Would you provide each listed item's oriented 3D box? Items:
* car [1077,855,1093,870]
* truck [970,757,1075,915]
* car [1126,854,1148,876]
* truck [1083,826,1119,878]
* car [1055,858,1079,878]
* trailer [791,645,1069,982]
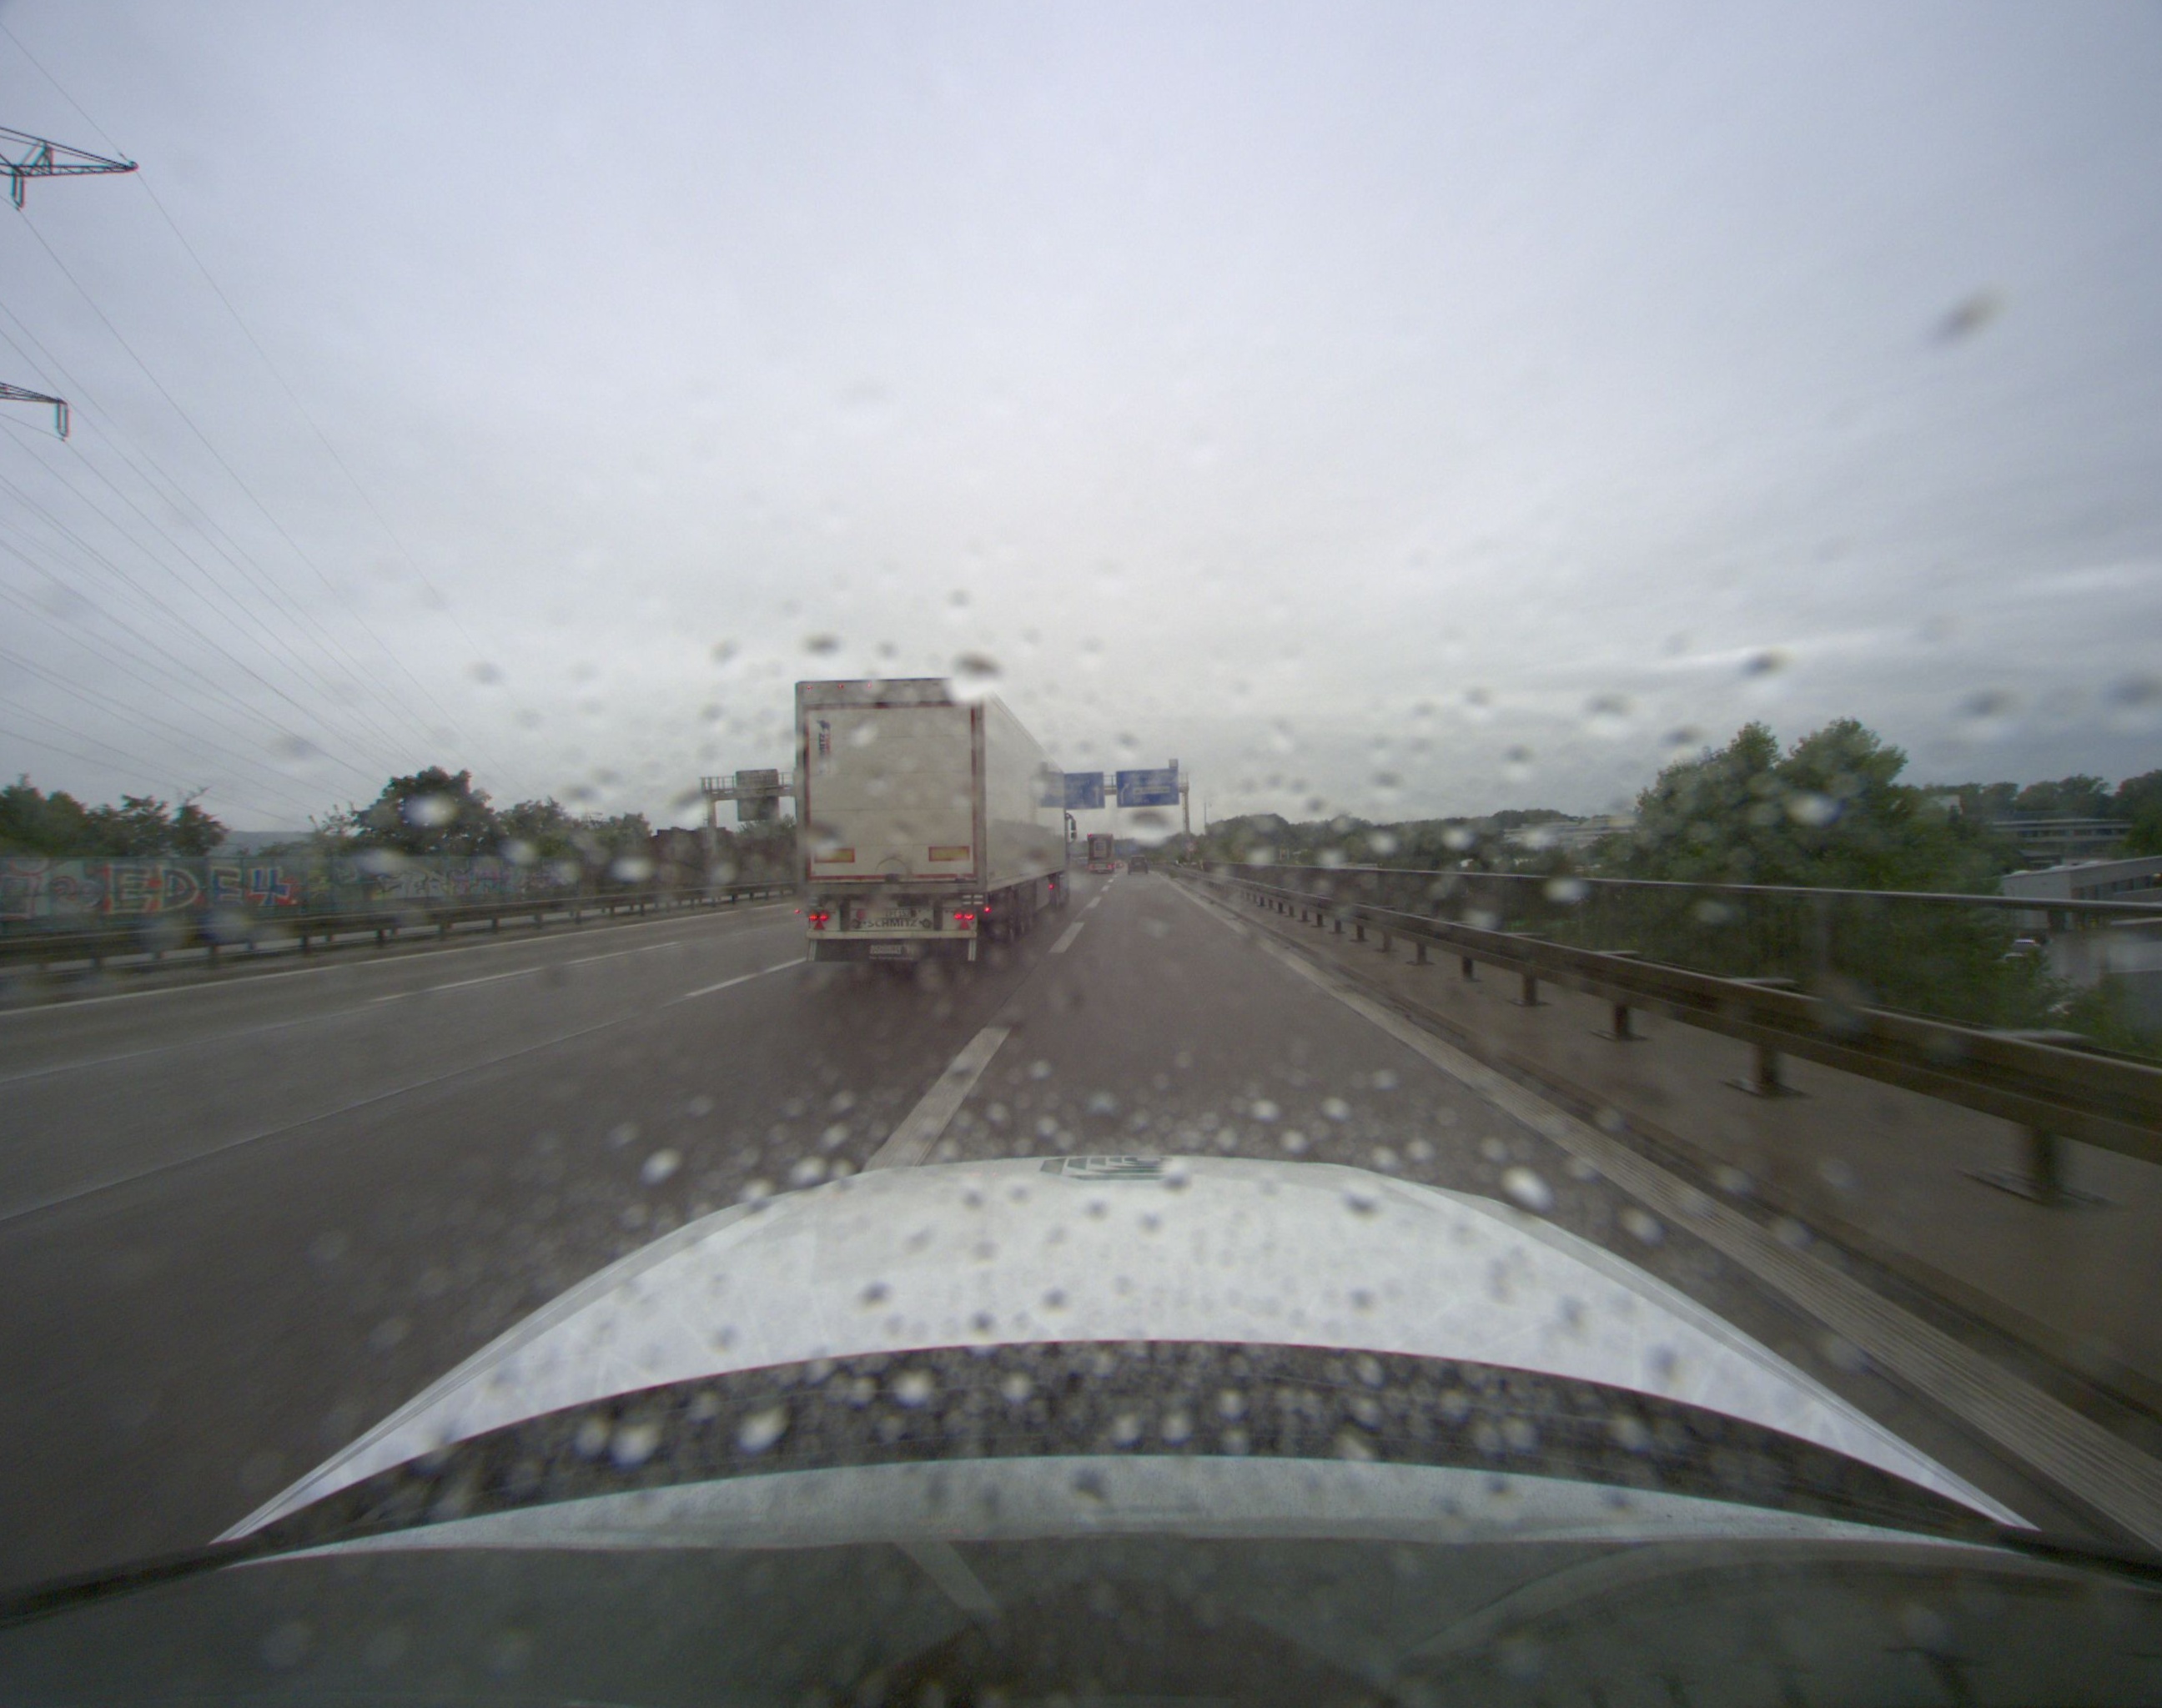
[{"bbox_3d":[0.562,1.184,109.451,2.040,1.949,4.003,0,-1,3],"label":"car"},{"bbox_3d":[-1.563,-0.460,24.675,2.332,4.157,6.352,0,0,3],"label":"truck"},{"bbox_3d":[5.121,1.007,73.802,1.888,1.949,4.005,-1,-1,5],"label":"car"},{"bbox_3d":[2.230,-0.168,86.922,3.519,5.183,9.901,0,-1,3],"label":"truck"},{"bbox_3d":[-1.232,1.255,74.294,1.886,1.723,4.003,0,0,3],"label":"car"},{"bbox_3d":[-1.995,-0.488,17.529,2.332,4.157,14.840,0,0,3],"label":"trailer"}]
